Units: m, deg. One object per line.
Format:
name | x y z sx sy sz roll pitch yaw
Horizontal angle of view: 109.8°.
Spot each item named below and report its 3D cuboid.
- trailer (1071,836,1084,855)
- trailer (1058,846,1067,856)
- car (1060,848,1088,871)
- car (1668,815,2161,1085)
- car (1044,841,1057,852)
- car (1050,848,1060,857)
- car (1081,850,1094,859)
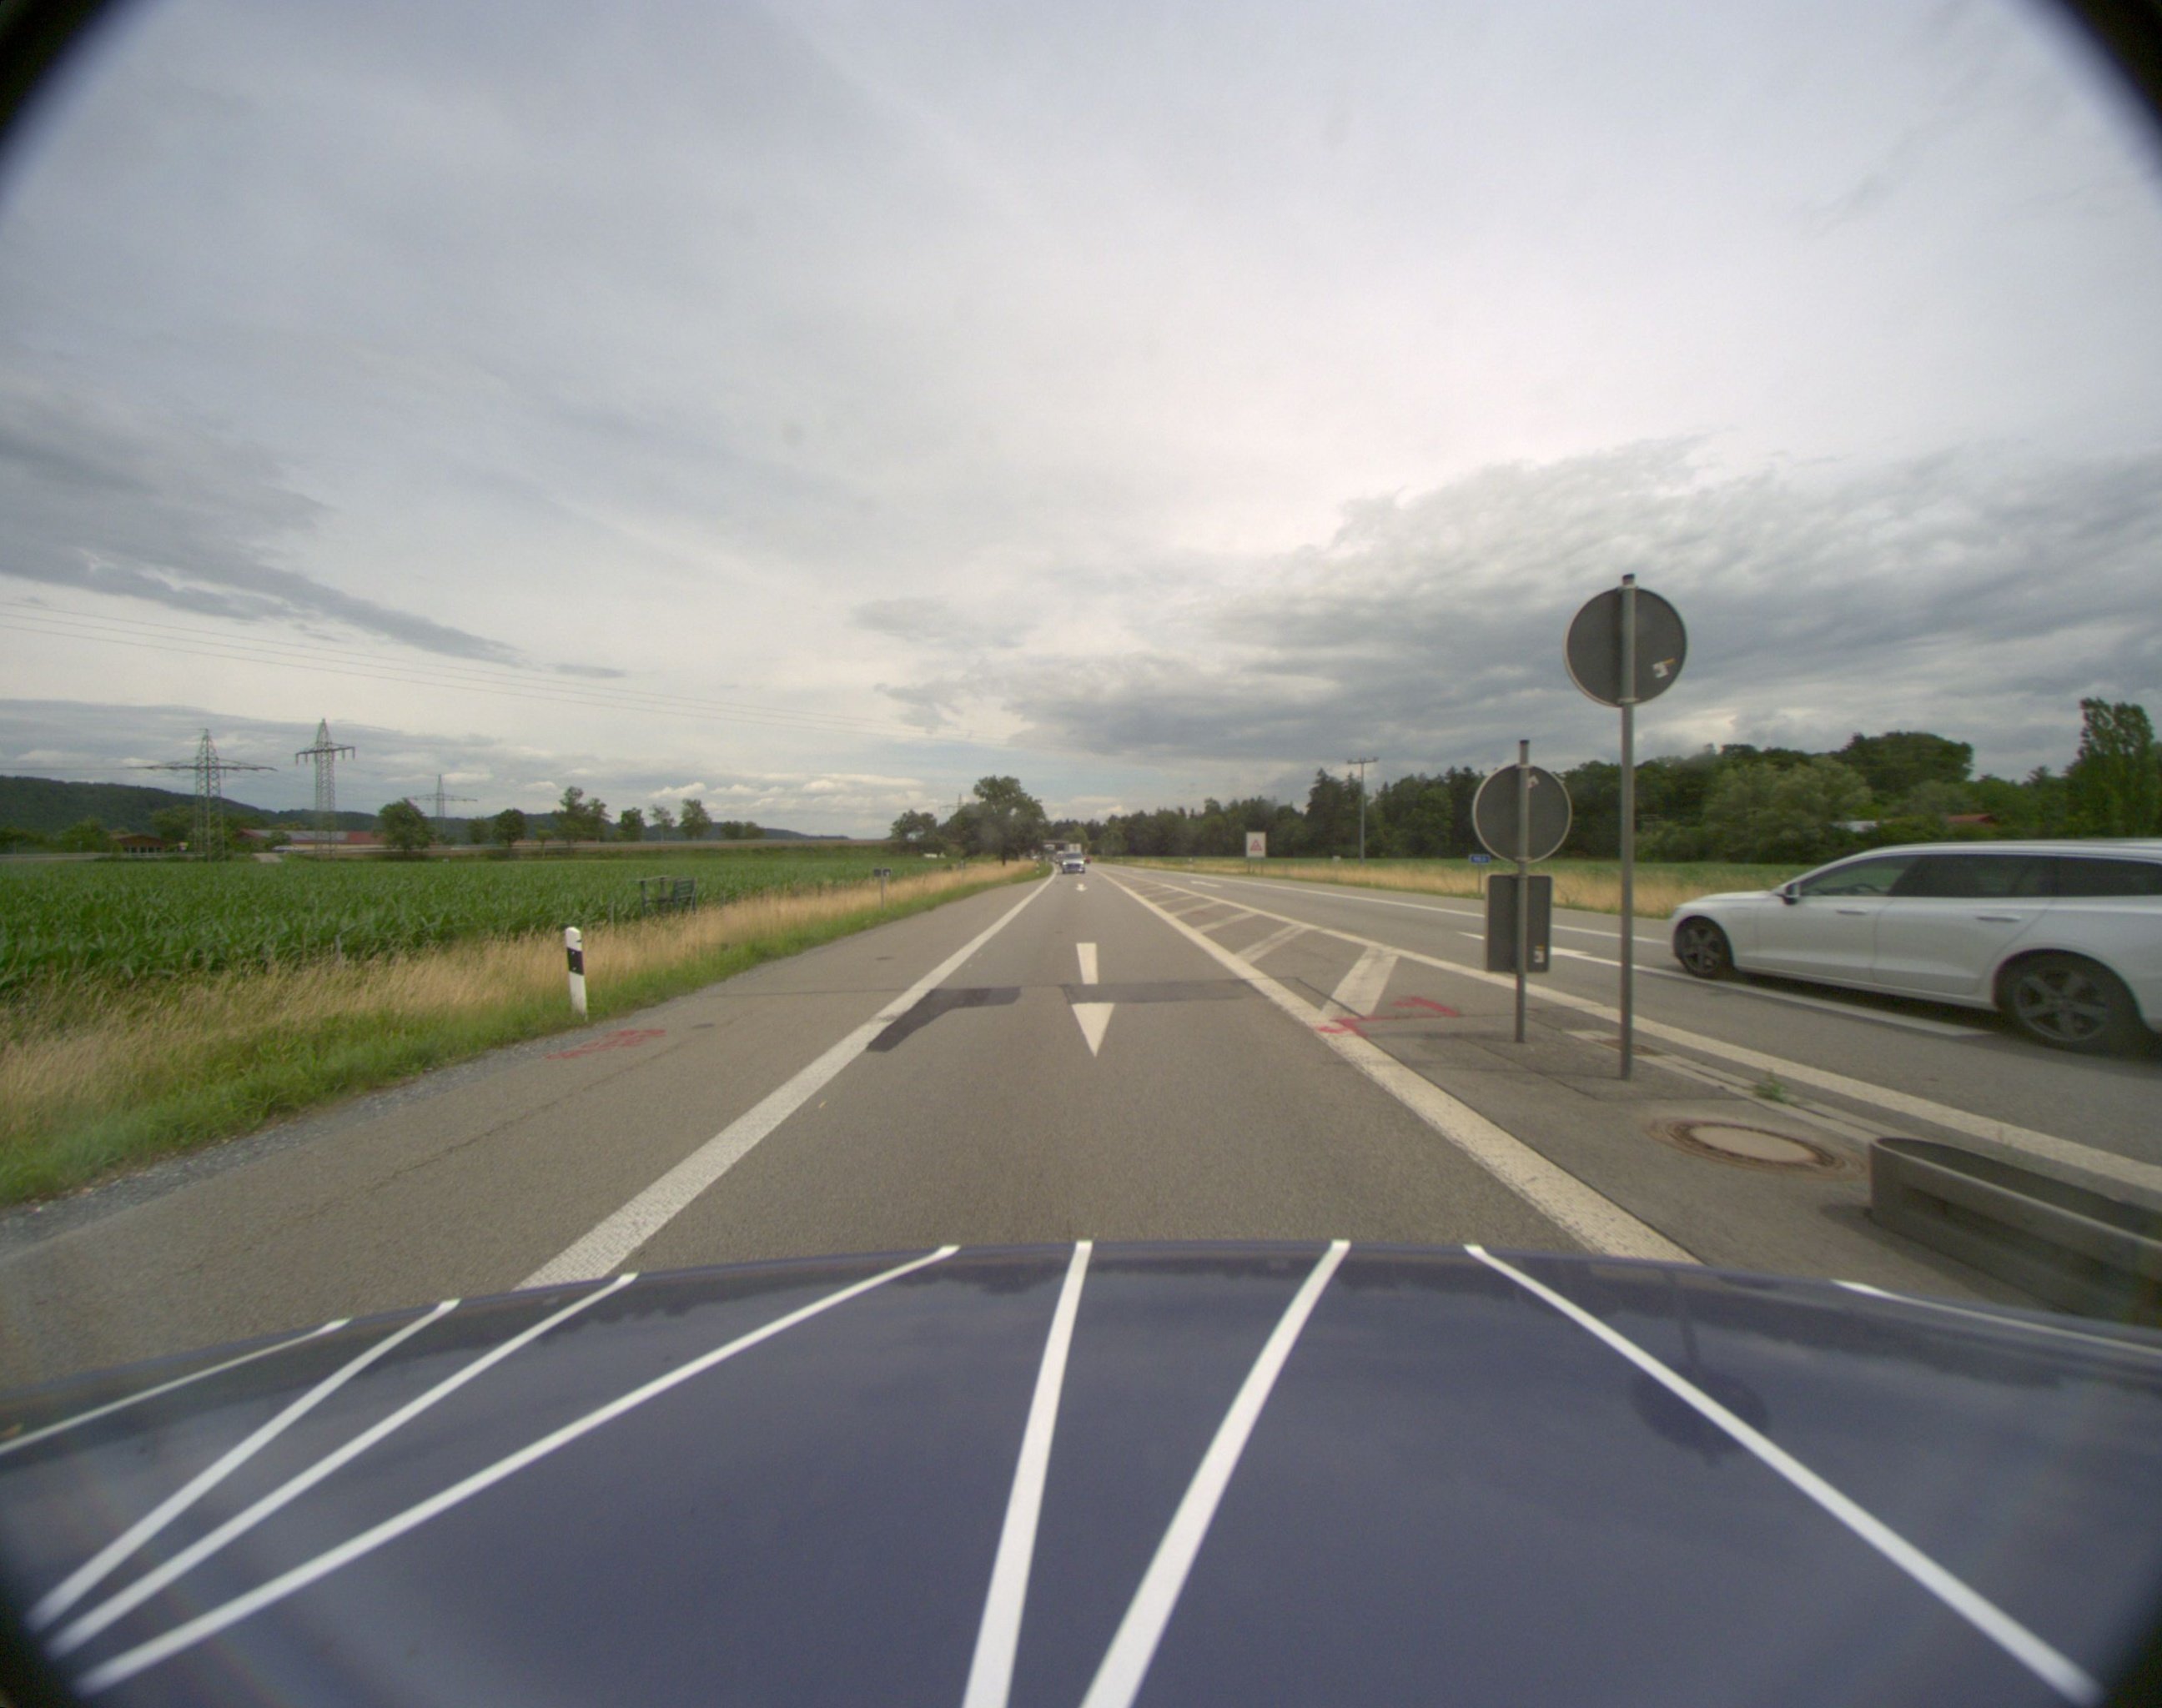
trailer | -0.734 -1.767 163.881 2.496 3.972 13.076 -1 0 1
trailer | -4.859 -0.700 201.896 2.188 2.560 6.241 -2 1 -3
car | -0.598 0.466 64.831 1.924 1.823 3.997 -2 1 -6
car | 7.411 0.545 6.050 1.822 1.623 4.601 -2 1 -1
car | -4.951 -1.175 123.374 1.862 1.679 4.112 -2 1 -1
car | -6.270 -0.405 183.900 1.998 2.002 4.000 -2 1 3
car | 1.051 0.104 127.311 1.862 1.470 5.196 -2 1 -1
